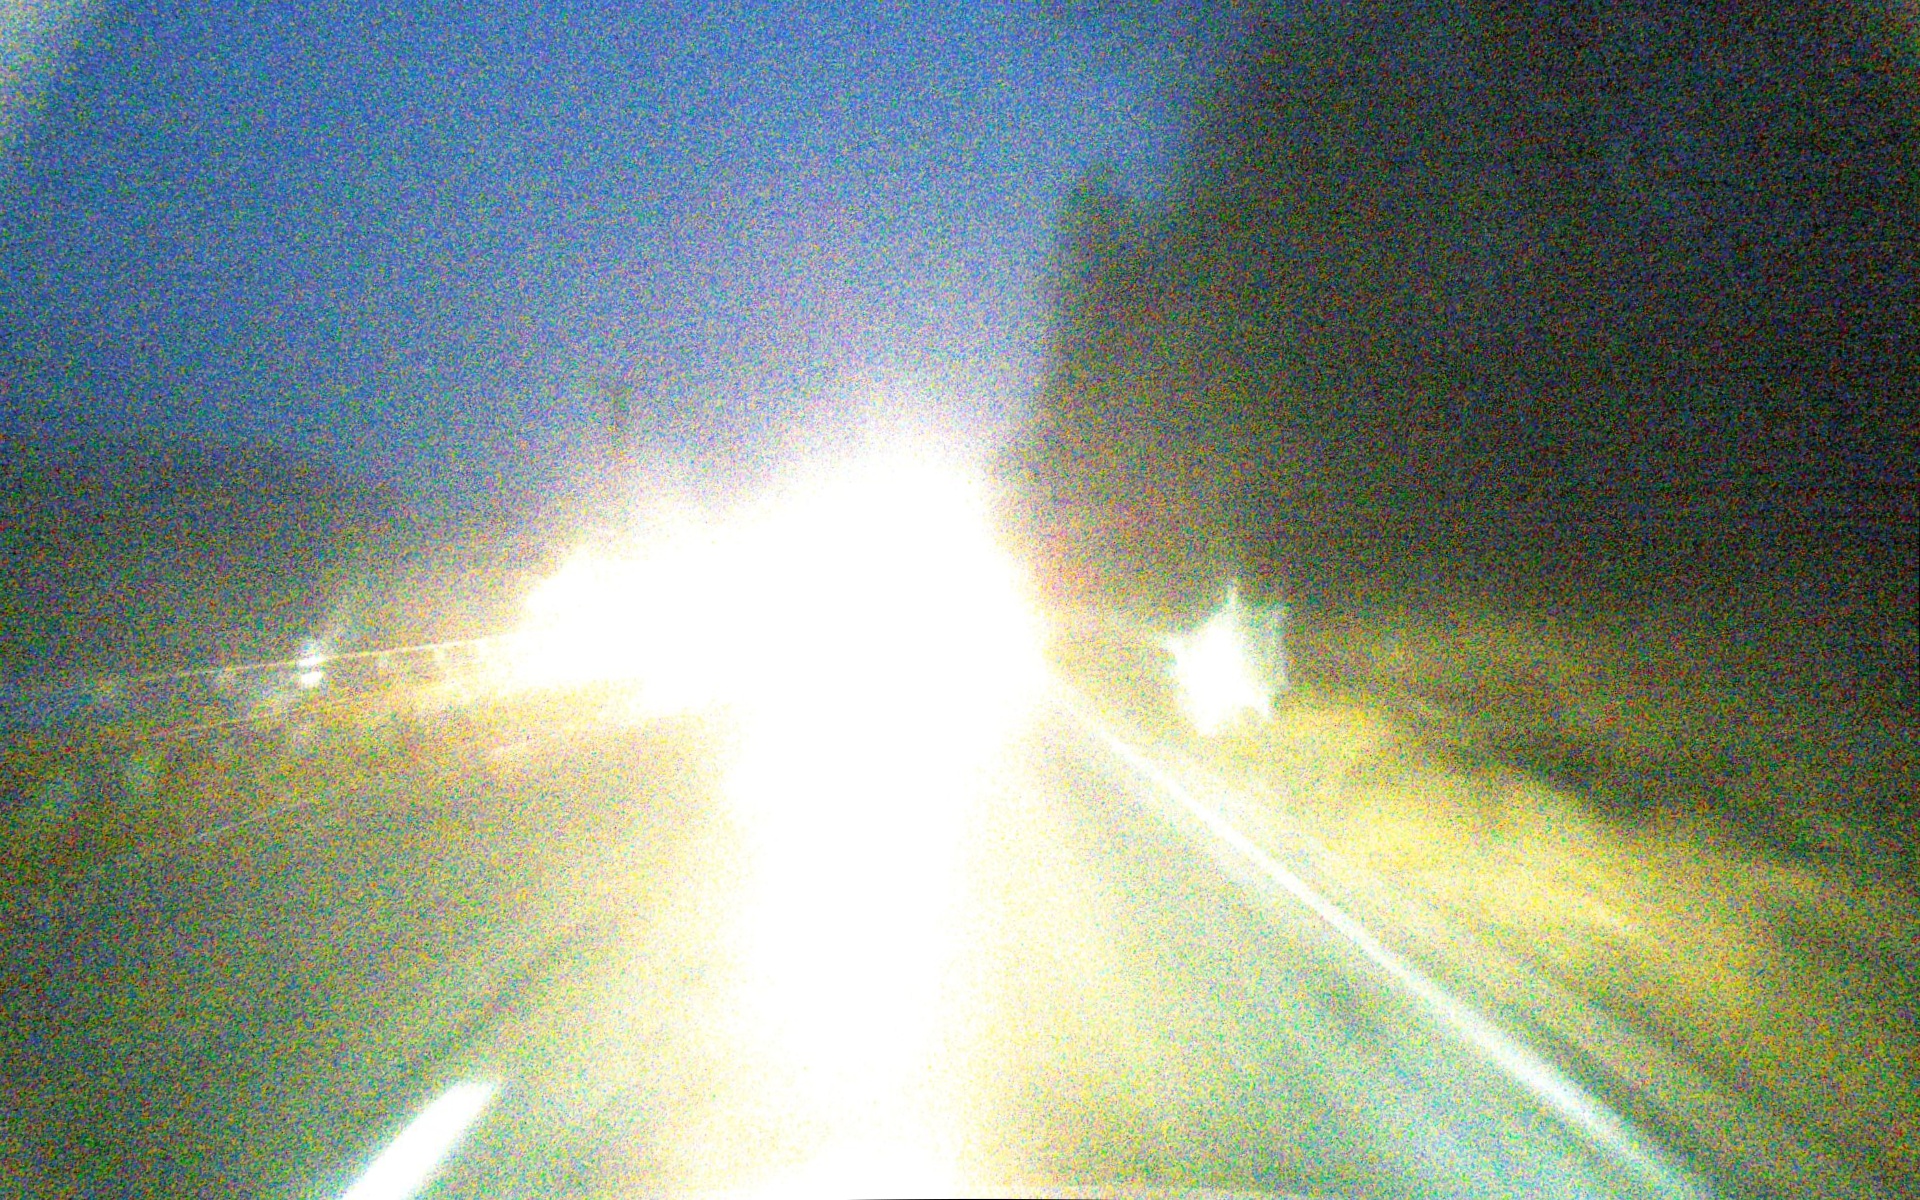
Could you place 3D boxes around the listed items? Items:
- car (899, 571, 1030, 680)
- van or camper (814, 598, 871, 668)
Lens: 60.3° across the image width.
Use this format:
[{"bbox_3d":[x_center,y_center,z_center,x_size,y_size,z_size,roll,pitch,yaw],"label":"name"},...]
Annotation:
[{"bbox_3d":[0.077,0.498,32.963,2.407,1.993,4.911,0,-1,0],"label":"car"},{"bbox_3d":[-4.763,1.291,67.536,2.081,2.610,5.780,-3,0,-3],"label":"van or camper"}]
